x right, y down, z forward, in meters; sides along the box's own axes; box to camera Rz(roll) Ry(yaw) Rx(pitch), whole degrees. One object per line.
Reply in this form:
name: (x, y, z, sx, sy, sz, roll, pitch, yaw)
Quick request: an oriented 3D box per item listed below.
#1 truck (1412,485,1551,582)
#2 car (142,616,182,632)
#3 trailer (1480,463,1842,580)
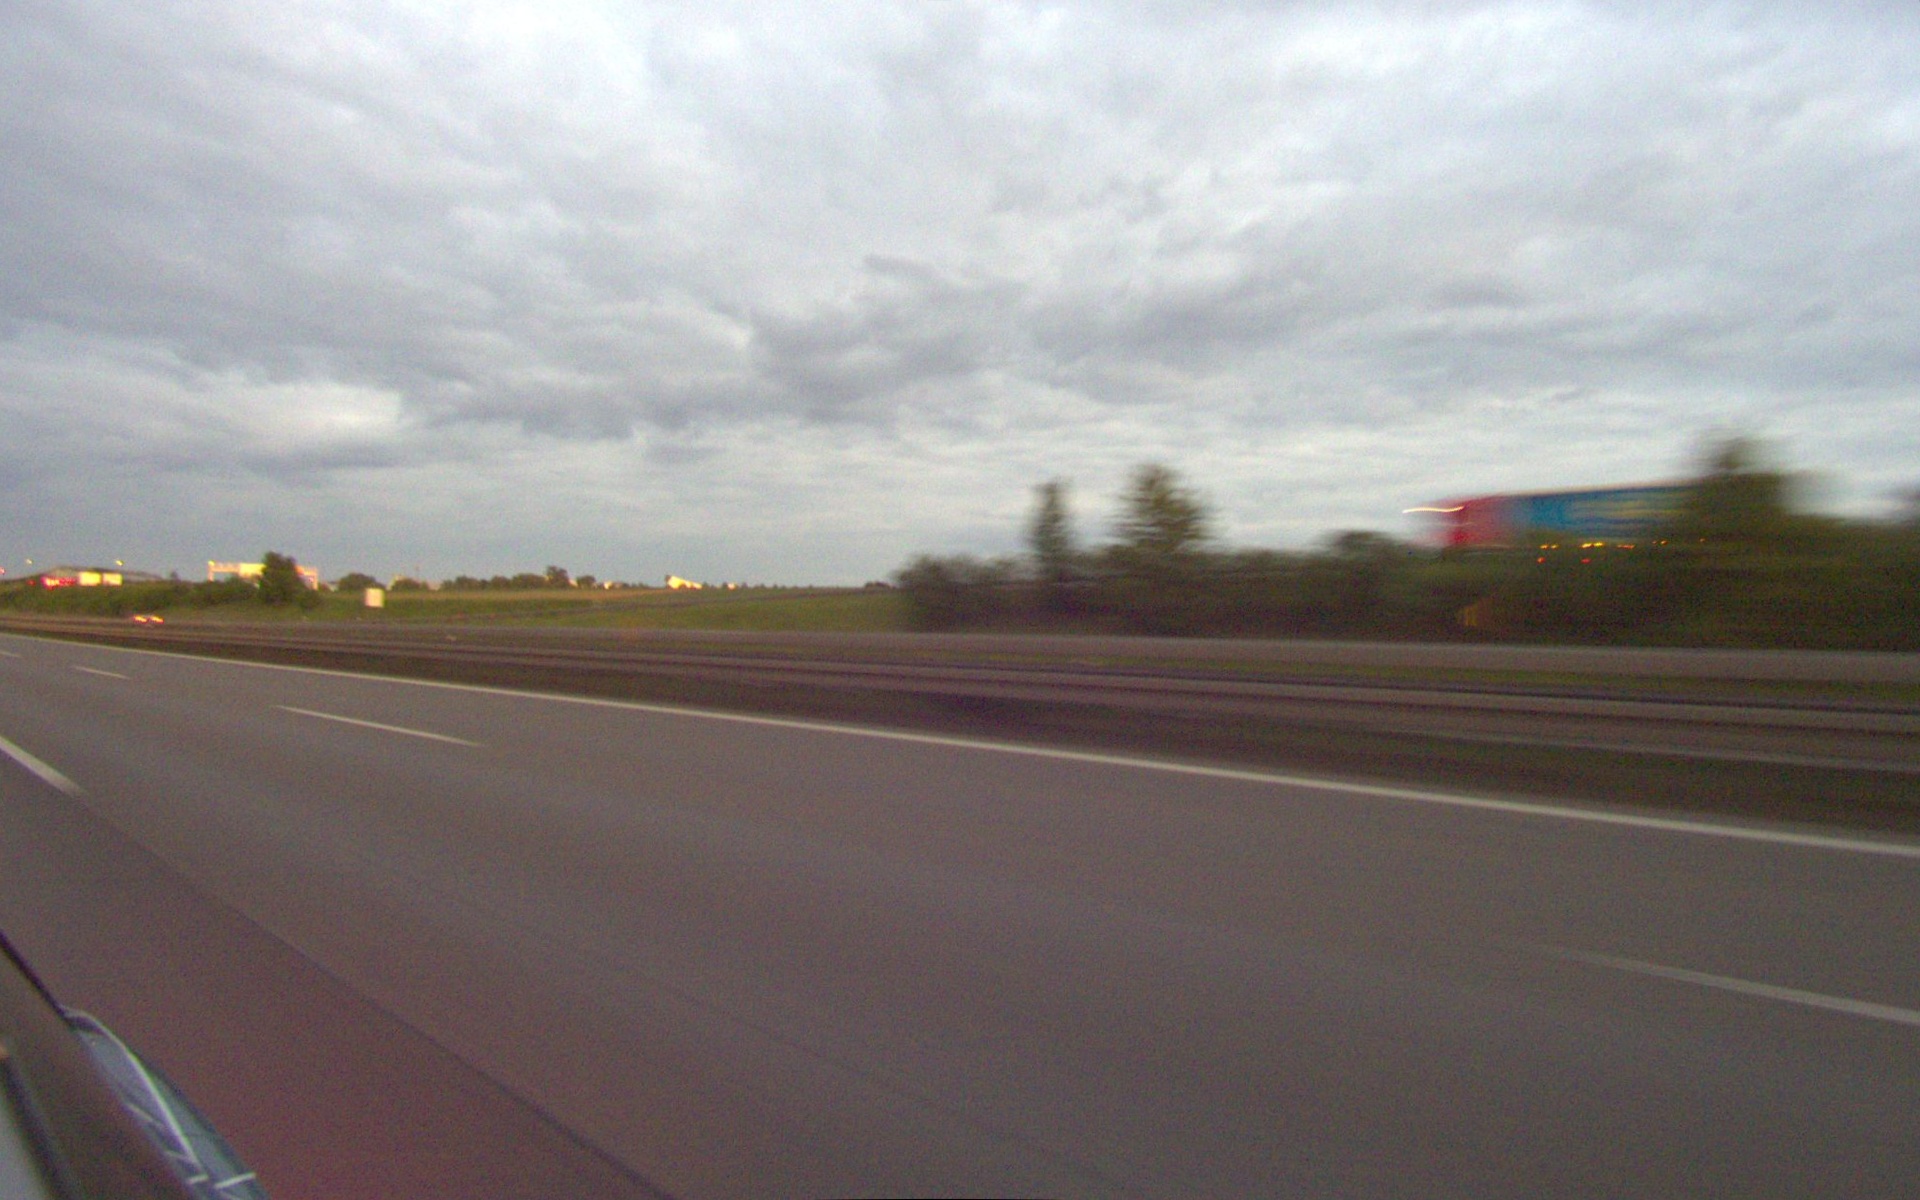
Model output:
truck: (24.464, -3.004, 47.524, 5.466, 4.102, 2.667, -1, -2, 36)
car: (-67.918, 2.039, 86.097, 4.173, 1.360, 1.973, -1, -2, 41)
trailer: (29.659, -3.114, 43.771, 12.465, 4.102, 2.666, -1, -2, 36)
